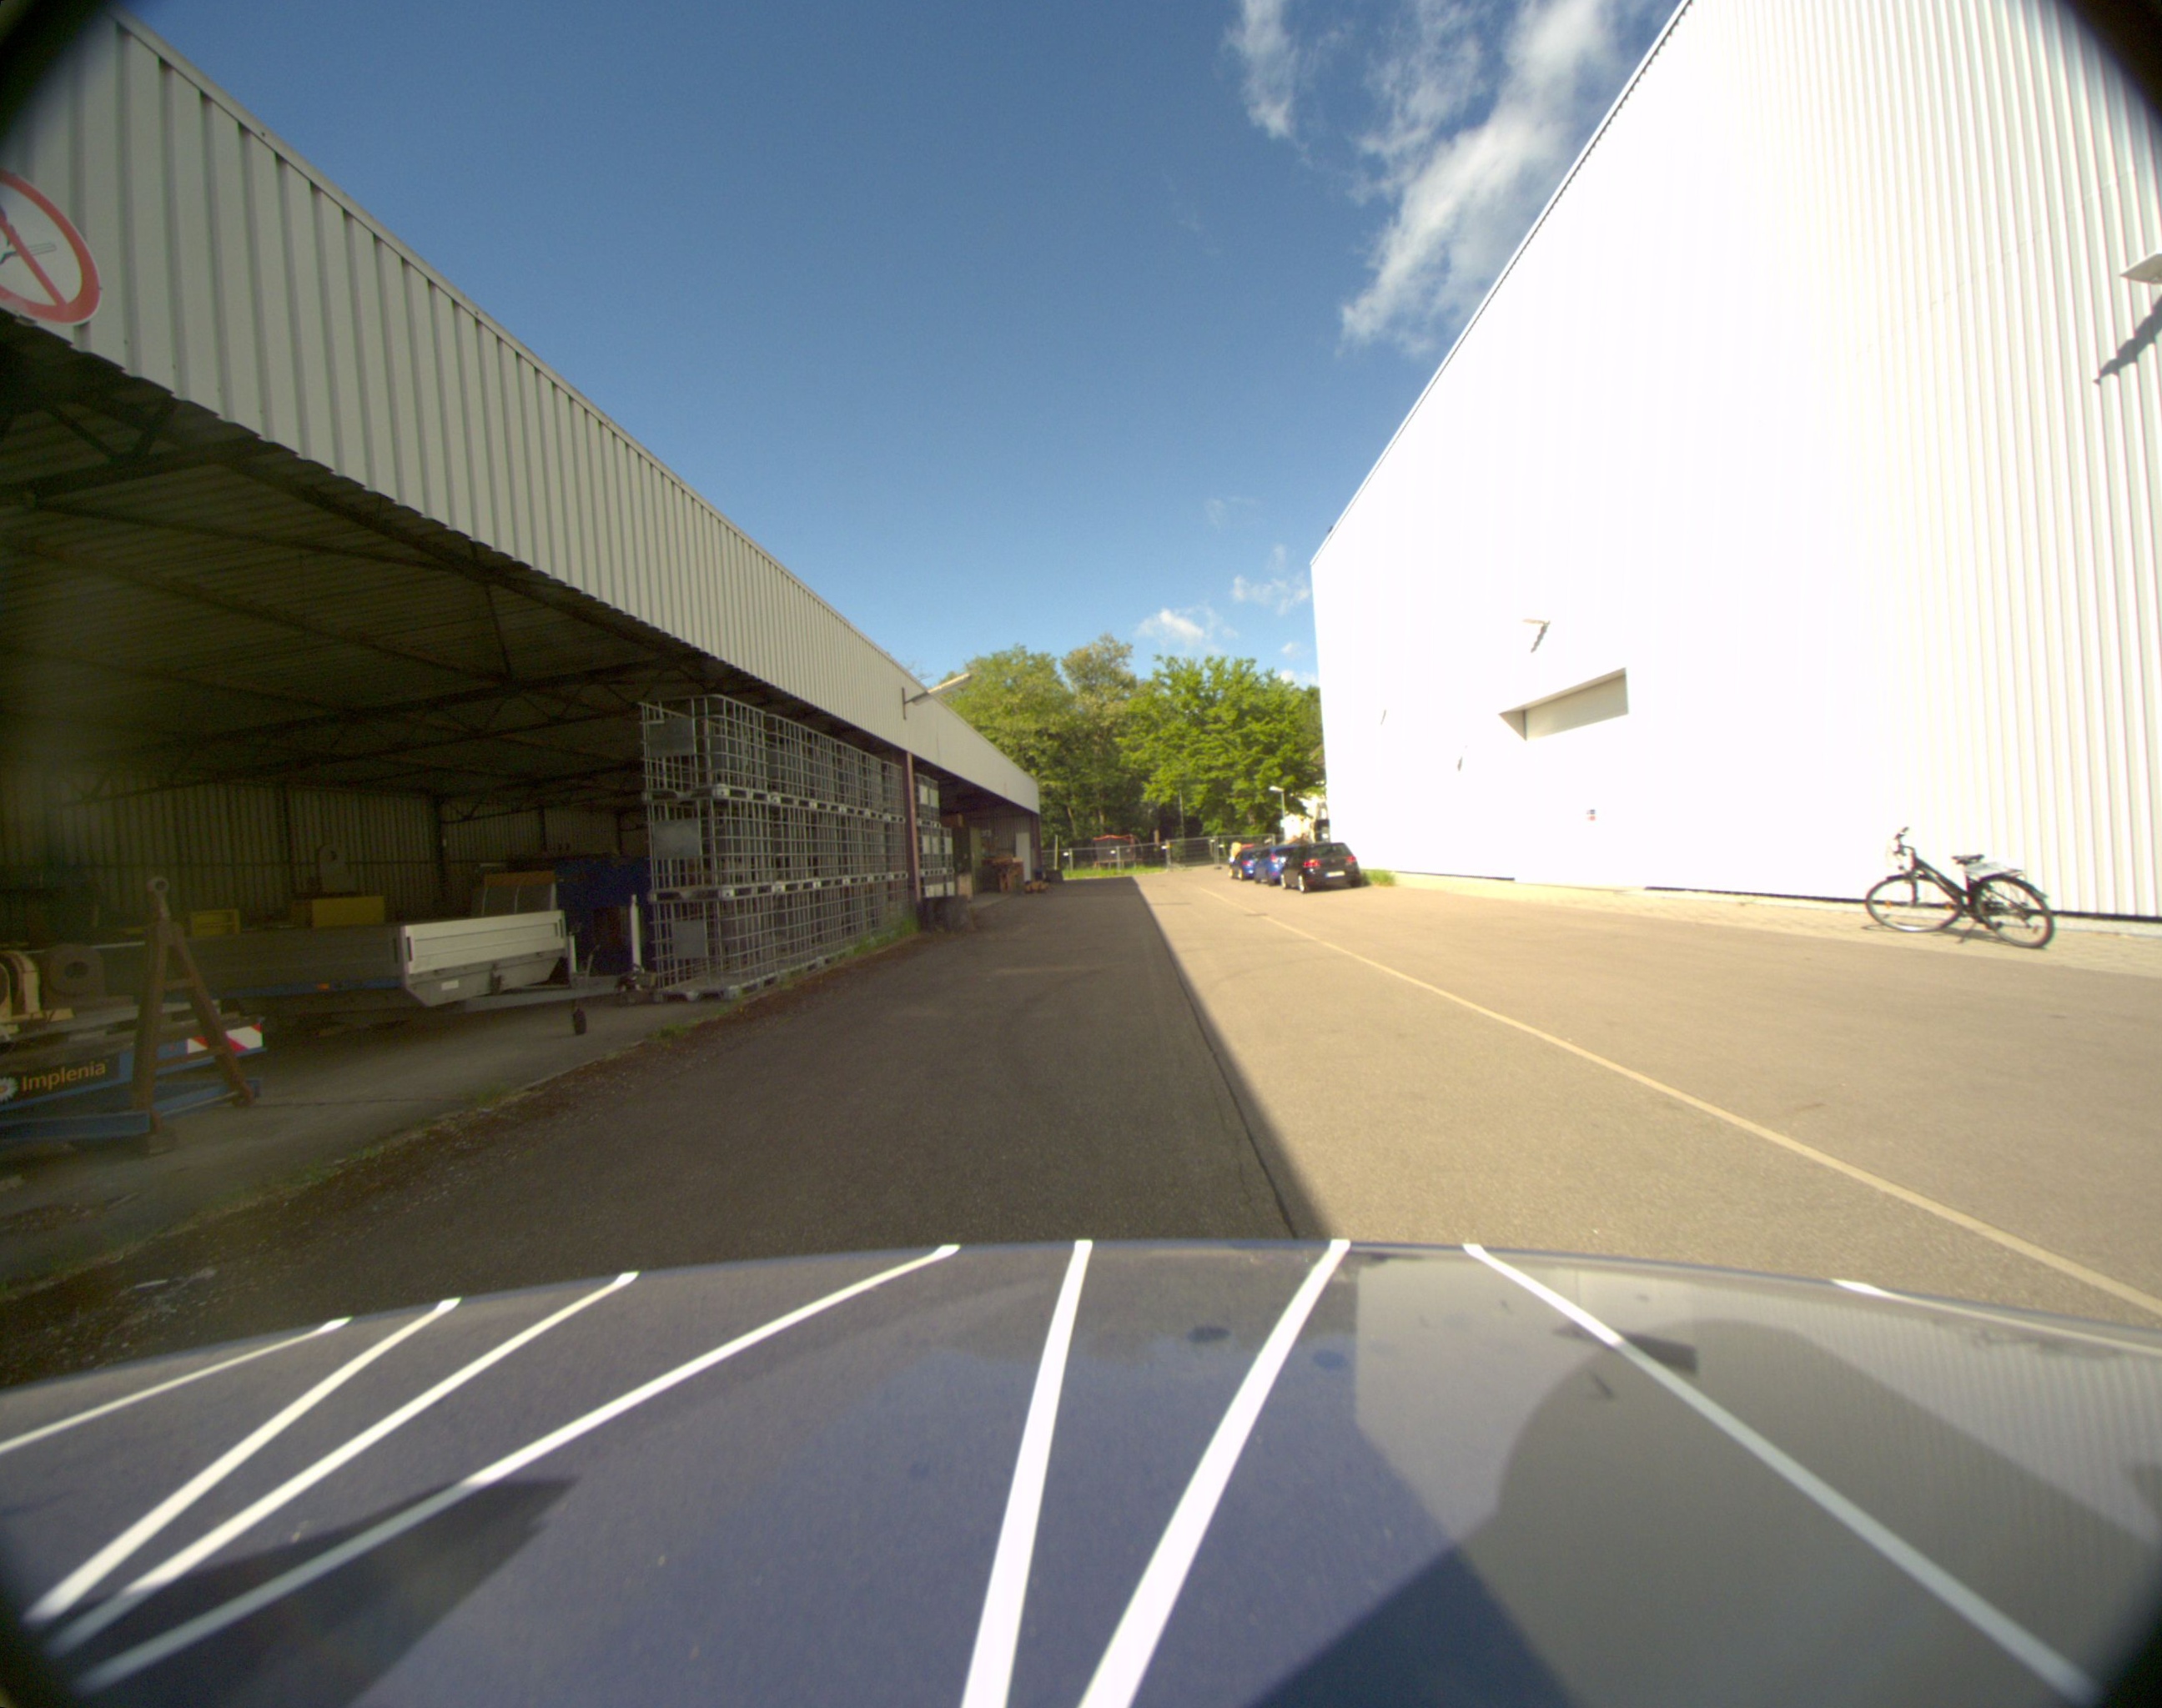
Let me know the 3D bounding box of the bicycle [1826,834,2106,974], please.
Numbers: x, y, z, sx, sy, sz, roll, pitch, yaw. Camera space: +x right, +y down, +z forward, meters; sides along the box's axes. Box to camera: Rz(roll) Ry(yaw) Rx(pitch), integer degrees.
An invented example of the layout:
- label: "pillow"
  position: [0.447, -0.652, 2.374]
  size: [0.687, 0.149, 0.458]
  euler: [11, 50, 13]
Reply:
- label: "bicycle"
  position: [8.710, 0.432, 7.642]
  size: [0.909, 1.136, 1.901]
  euler: [-7, 1, 18]

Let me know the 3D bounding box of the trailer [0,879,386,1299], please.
- label: "trailer"
  position: [-6.783, 1.089, 3.720]
  size: [4.878, 1.619, 2.029]
  euler: [-3, 1, 2]

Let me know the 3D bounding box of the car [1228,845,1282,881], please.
- label: "car"
  position: [7.797, 0.357, 34.398]
  size: [1.789, 1.431, 4.001]
  euler: [-3, 0, 5]

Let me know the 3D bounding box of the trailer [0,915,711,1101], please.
- label: "trailer"
  position: [-6.881, 1.348, 7.081]
  size: [5.836, 1.113, 2.029]
  euler: [-3, 0, 2]

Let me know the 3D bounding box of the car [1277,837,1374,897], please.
- label: "car"
  position: [7.479, 0.349, 23.646]
  size: [1.895, 1.513, 4.001]
  euler: [-6, 0, 5]

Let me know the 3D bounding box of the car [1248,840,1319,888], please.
- label: "car"
  position: [7.619, 0.346, 28.897]
  size: [1.789, 1.513, 4.001]
  euler: [-6, 0, 5]
